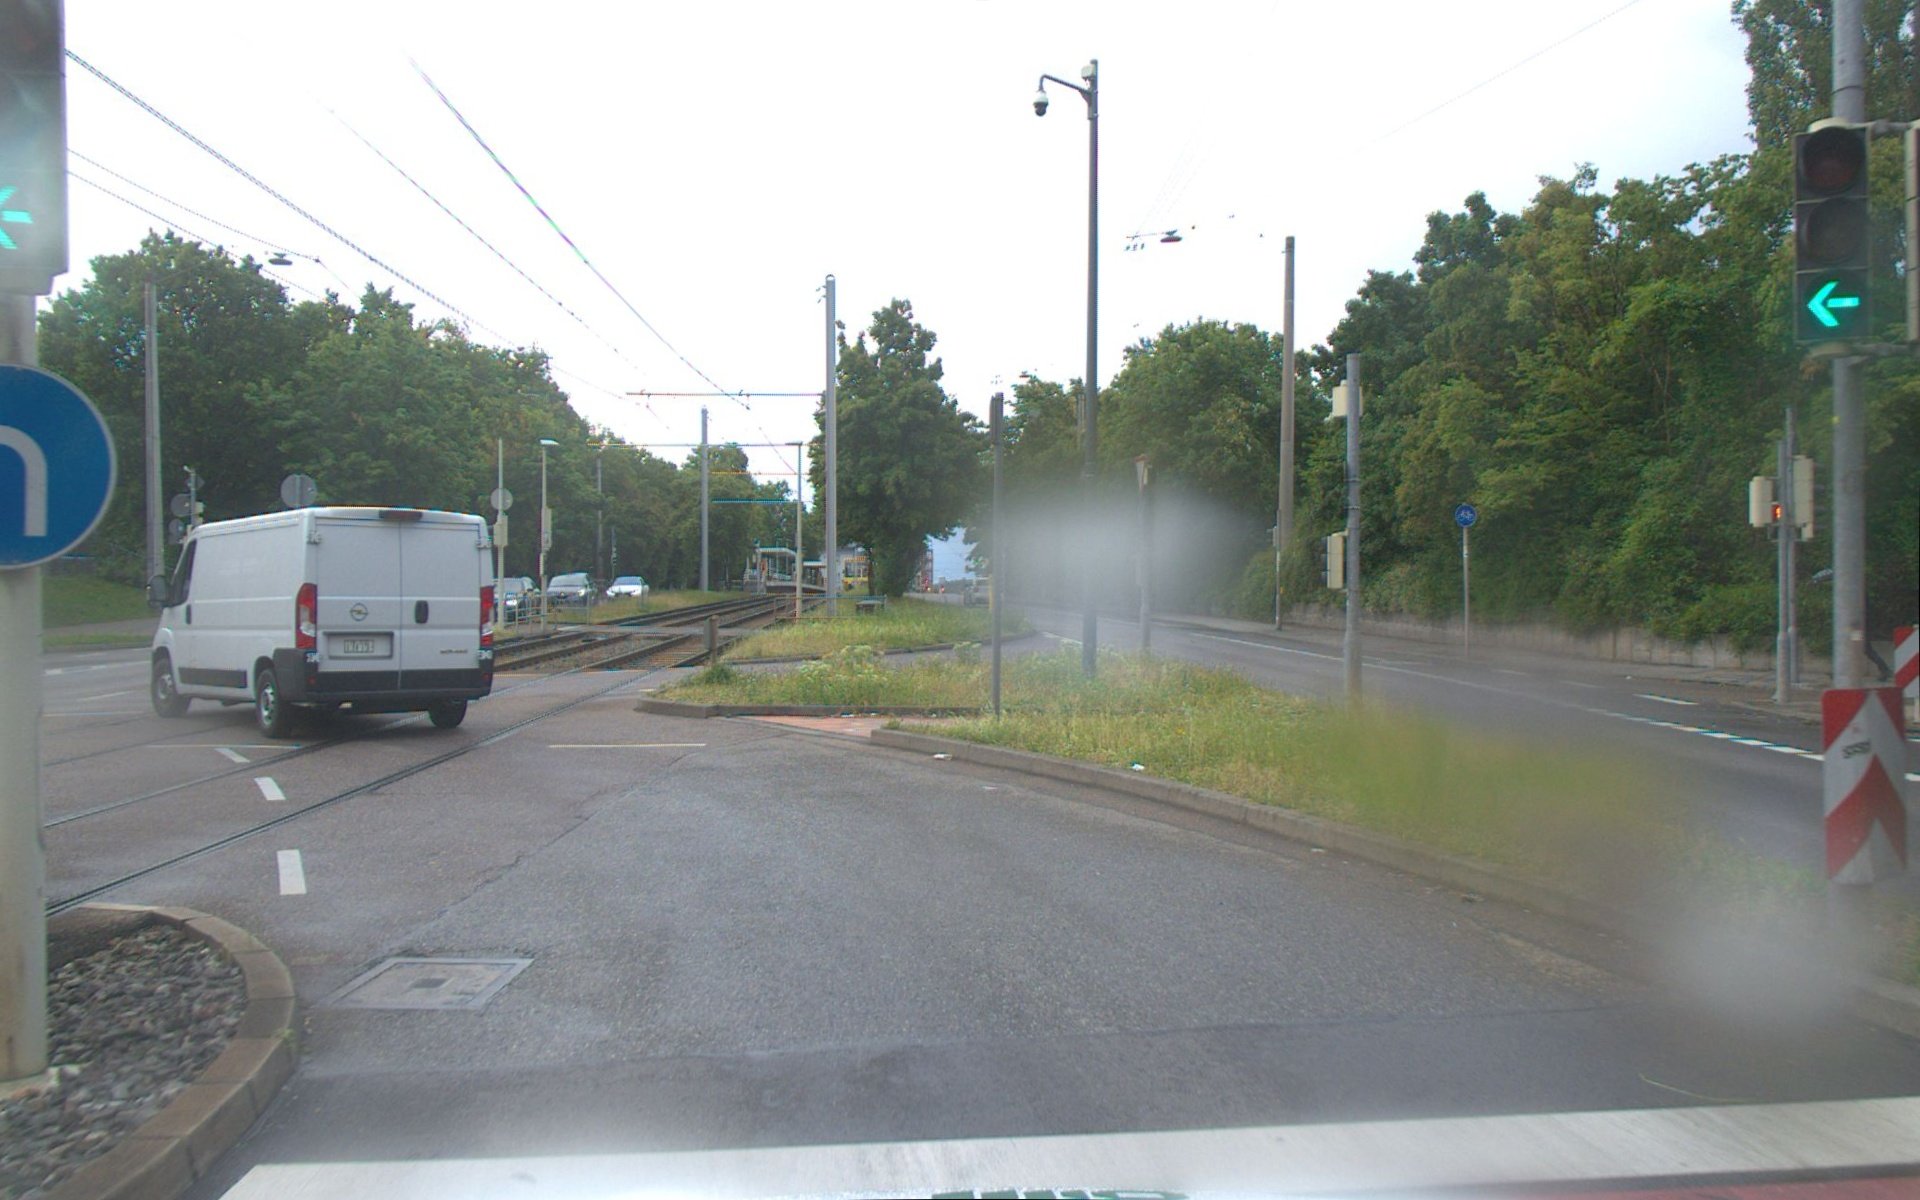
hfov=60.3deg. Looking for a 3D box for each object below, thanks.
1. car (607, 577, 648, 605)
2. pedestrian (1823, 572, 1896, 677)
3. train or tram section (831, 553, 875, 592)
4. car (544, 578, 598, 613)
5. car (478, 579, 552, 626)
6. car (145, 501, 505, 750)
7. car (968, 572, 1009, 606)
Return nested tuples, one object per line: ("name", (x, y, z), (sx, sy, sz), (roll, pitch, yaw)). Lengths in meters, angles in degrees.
("car", (-17.760, -0.488, 88.502), (1.569, 1.426, 3.790), (-1, 1, -3))
("pedestrian", (14.316, 0.401, 26.337), (0.791, 1.635, 0.683), (1, -2, 0))
("train or tram section", (-11.075, -2.775, 172.662), (3.978, 3.962, 15.034), (0, 0, -2))
("car", (-16.439, -0.209, 70.023), (1.569, 1.426, 3.790), (0, 1, -3))
("car", (-14.911, 0.061, 55.580), (1.569, 1.426, 3.790), (-2, 1, -3))
("car", (-7.043, 0.170, 18.023), (2.134, 2.323, 4.988), (-1, 2, -40))
("car", (1.327, -0.538, 78.920), (1.669, 1.548, 3.790), (1, 1, -3))
